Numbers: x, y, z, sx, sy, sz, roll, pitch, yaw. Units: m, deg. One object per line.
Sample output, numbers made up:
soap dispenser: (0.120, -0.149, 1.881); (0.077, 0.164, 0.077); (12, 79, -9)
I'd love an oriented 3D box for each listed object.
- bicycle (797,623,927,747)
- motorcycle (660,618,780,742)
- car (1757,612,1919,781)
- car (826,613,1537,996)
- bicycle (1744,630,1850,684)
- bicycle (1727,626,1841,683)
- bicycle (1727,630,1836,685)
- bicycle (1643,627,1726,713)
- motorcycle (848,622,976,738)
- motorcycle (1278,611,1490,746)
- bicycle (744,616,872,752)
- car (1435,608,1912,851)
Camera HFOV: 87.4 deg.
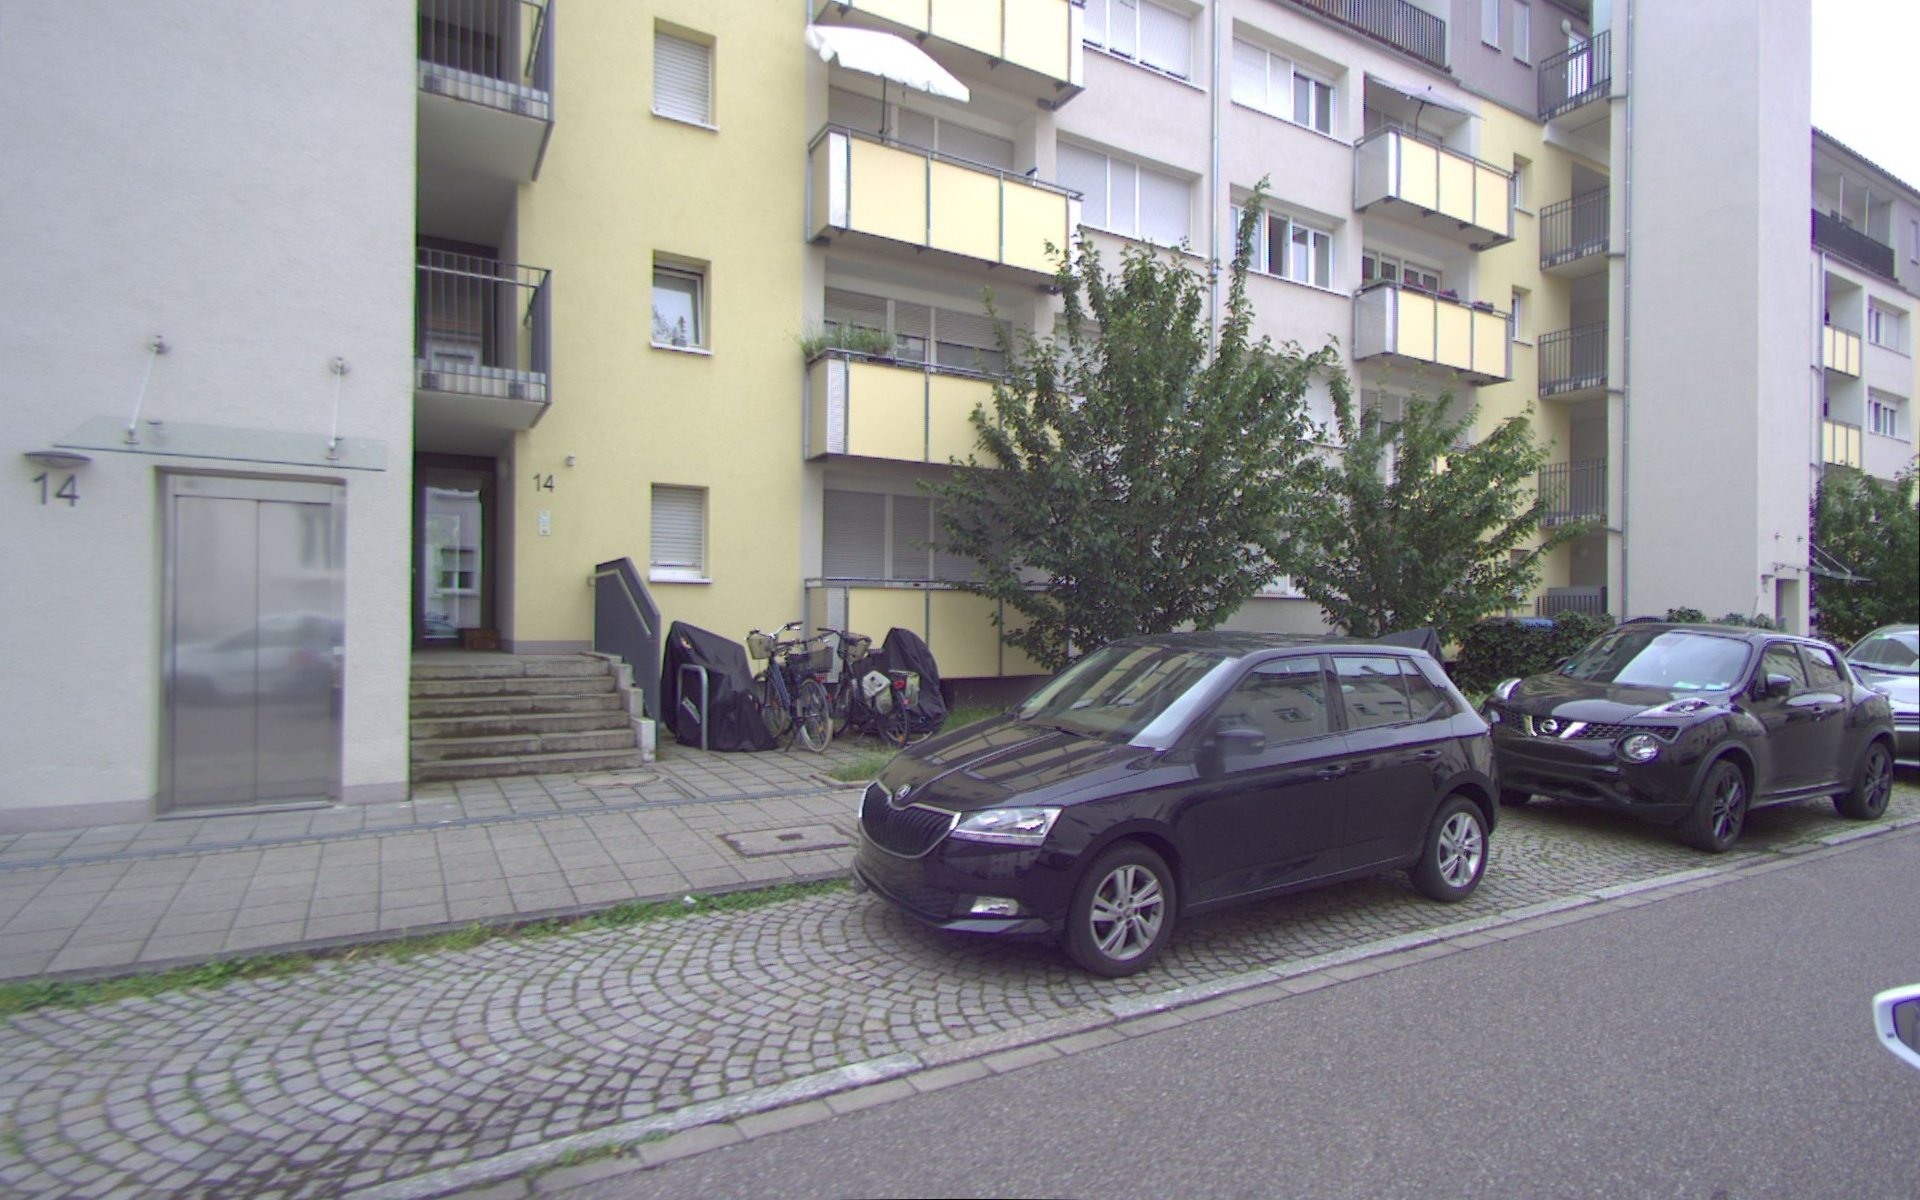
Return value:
bicycle: (-1.053, 0.831, 10.455); (0.602, 1.157, 1.712); (1, 0, -34)
motorcycle: (-2.452, 0.756, 10.144); (0.683, 1.144, 1.605); (1, -1, -33)
car: (11.138, 0.998, 11.372); (4.809, 1.591, 1.824); (1, 1, -33)
car: (1.341, 0.867, 5.678); (3.811, 1.458, 1.635); (1, 1, -31)
bicycle: (19.324, 1.288, 23.242); (0.562, 1.133, 1.830); (1, 0, -23)
bicycle: (18.099, 1.182, 22.099); (0.598, 1.133, 1.825); (1, 1, -31)
bicycle: (18.522, 1.278, 22.700); (0.563, 1.133, 1.827); (1, 0, -28)
bicycle: (10.788, 1.011, 14.937); (1.712, 1.207, 0.547); (2, -1, -38)
motorcycle: (-0.556, 0.813, 10.869); (0.587, 1.144, 1.738); (1, -1, -33)
motorcycle: (4.693, 0.816, 11.063); (2.391, 1.324, 0.865); (1, 1, -30)
bicycle: (-1.562, 0.787, 10.107); (0.602, 1.241, 1.712); (1, -1, -34)
car: (5.946, 0.911, 8.312); (3.846, 1.551, 1.646); (1, 1, -28)
